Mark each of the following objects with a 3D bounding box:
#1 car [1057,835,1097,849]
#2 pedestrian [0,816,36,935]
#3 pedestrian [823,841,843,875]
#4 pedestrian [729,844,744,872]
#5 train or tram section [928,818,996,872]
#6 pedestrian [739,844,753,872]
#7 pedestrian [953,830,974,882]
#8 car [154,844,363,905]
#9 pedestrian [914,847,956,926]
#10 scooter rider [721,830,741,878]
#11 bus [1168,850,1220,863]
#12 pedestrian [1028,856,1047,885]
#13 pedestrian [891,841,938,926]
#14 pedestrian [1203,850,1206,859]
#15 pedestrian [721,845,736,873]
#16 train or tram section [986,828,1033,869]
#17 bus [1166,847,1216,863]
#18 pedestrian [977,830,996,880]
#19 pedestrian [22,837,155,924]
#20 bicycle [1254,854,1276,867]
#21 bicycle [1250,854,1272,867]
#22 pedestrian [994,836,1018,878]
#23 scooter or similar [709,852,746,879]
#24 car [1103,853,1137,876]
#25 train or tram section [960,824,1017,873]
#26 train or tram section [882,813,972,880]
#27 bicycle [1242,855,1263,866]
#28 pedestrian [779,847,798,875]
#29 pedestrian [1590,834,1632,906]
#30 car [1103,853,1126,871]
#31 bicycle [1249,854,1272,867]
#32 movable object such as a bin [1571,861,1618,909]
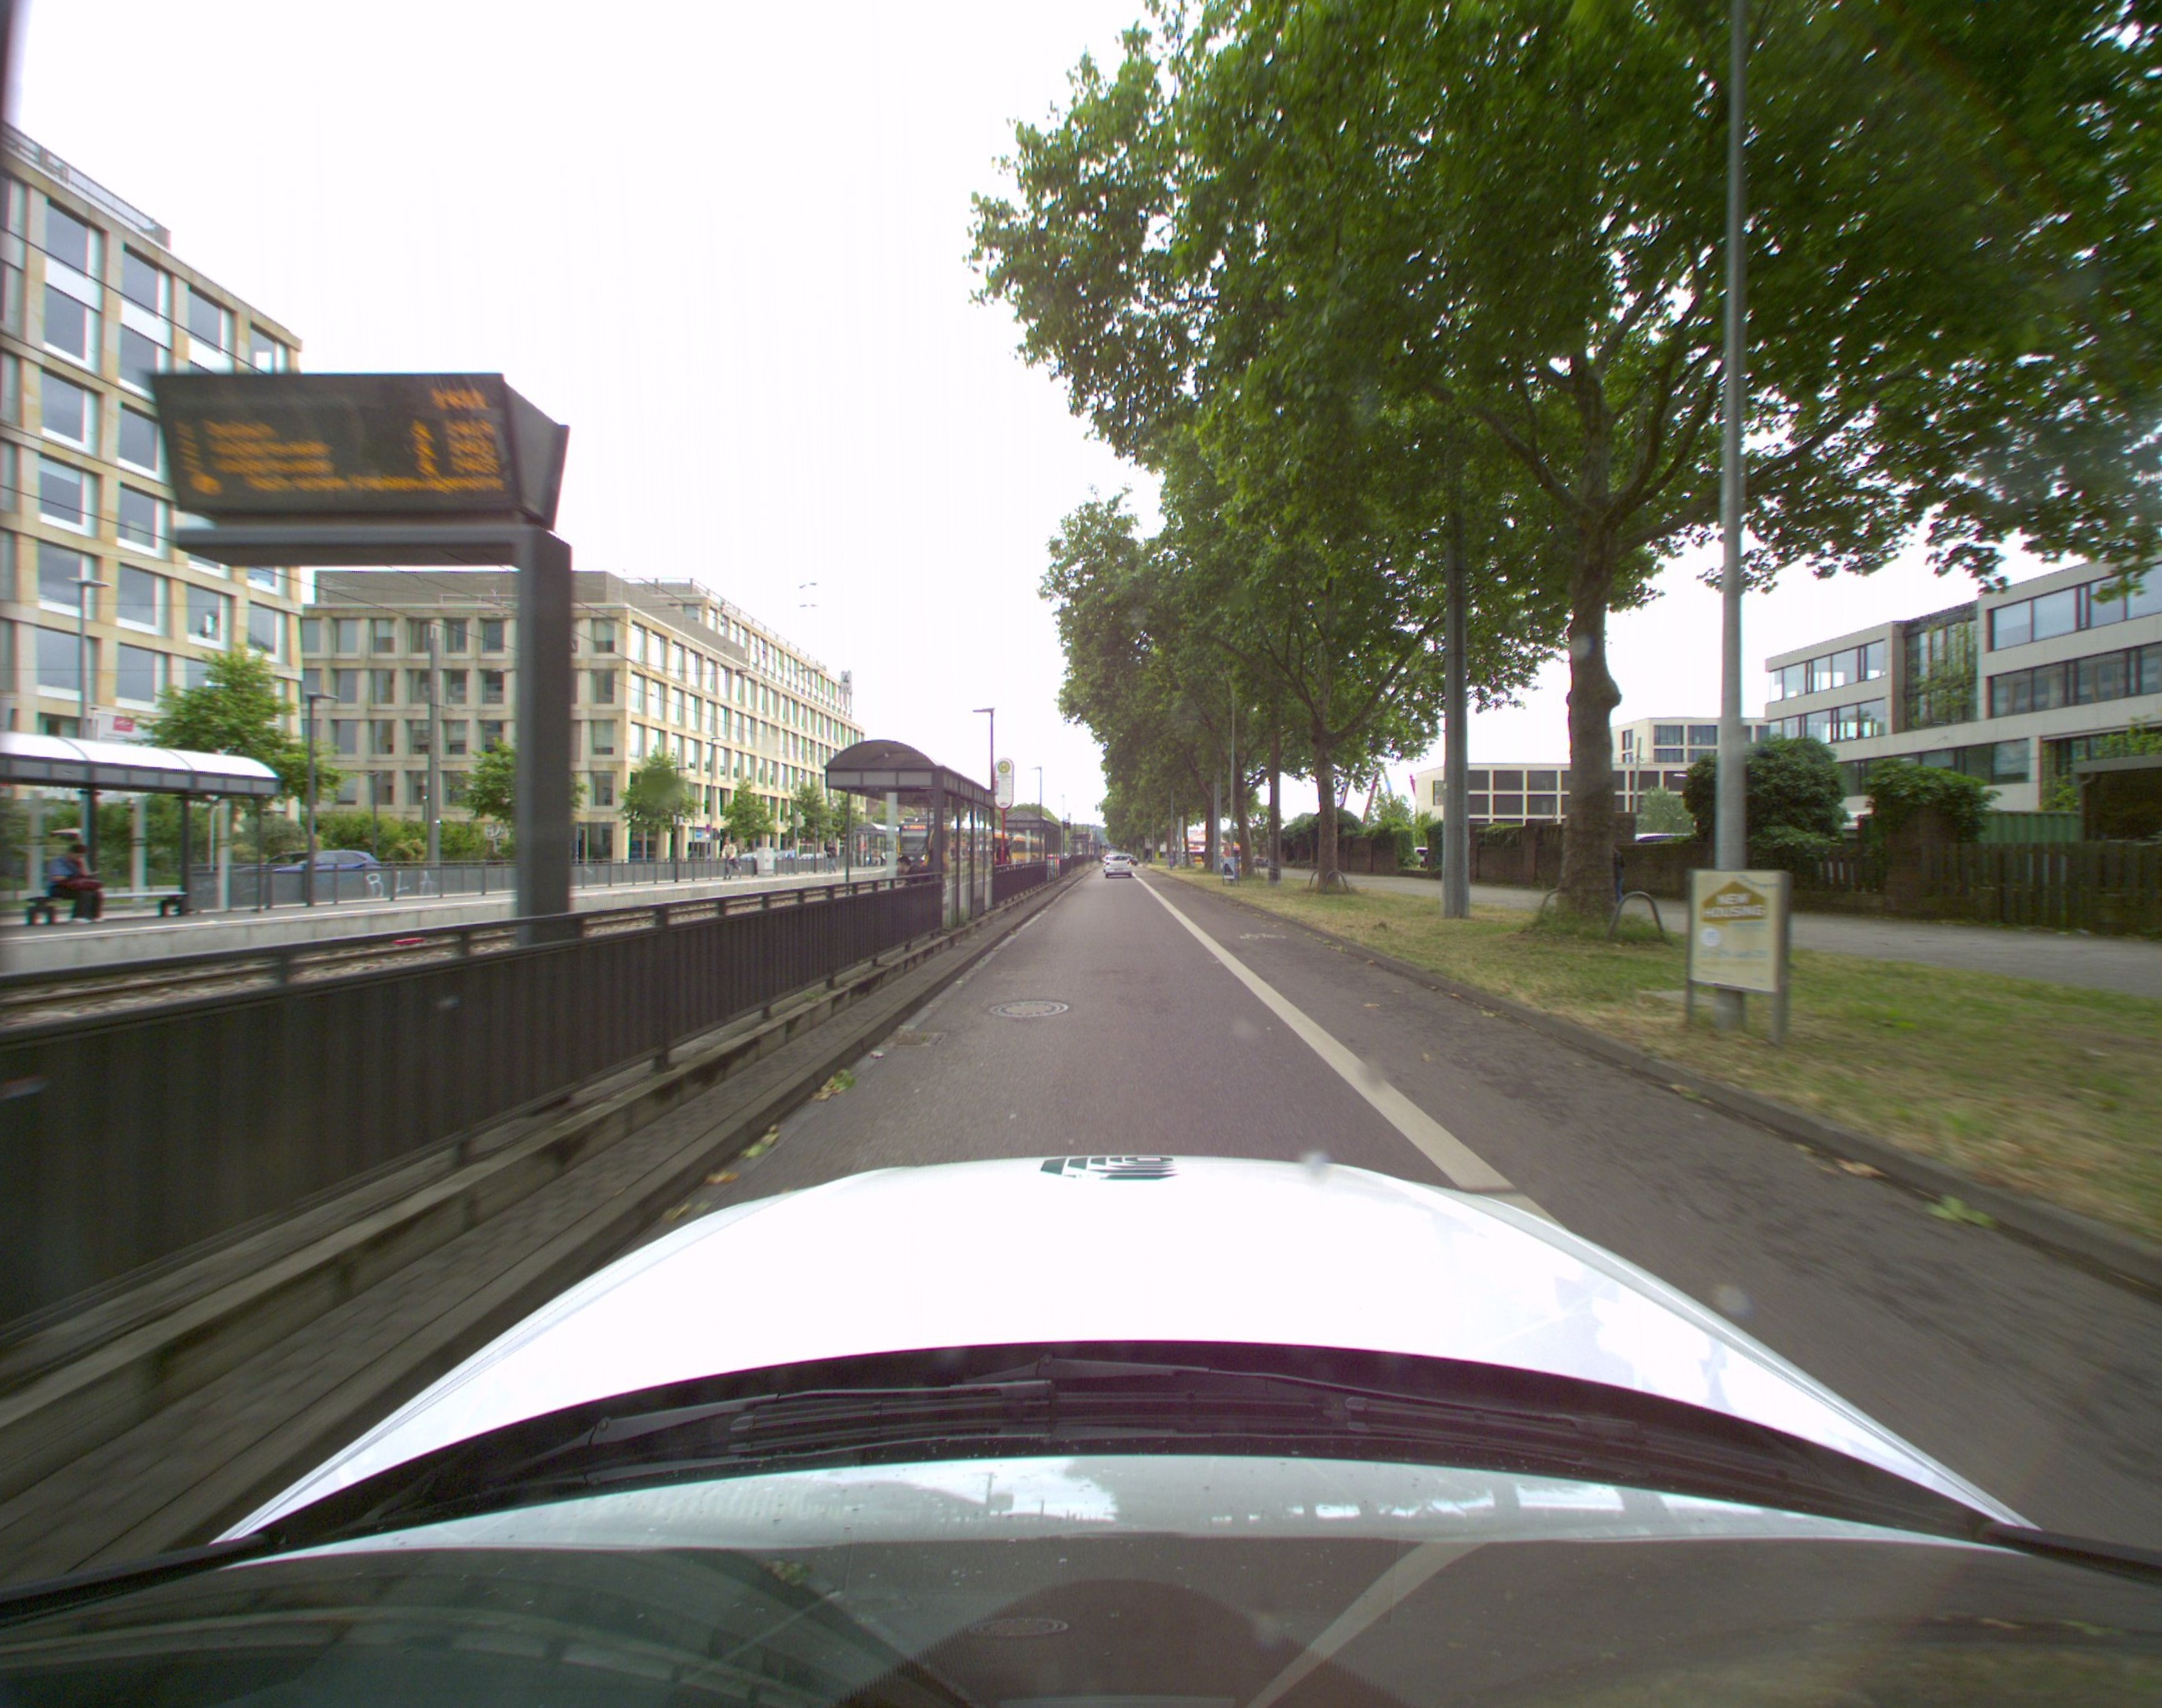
[{"bbox_3d":[-0.443,-1.235,84.338,3.968,1.486,1.789,-1,0,5],"label":"car"},{"bbox_3d":[-15.838,0.310,11.469,1.033,1.686,0.940,0,-1,5],"label":"pedestrian"},{"bbox_3d":[-13.431,0.231,44.114,0.709,1.795,1.161,0,-1,1],"label":"pedestrian"},{"bbox_3d":[-24.843,0.295,58.707,0.710,2.014,0.725,0,-1,1],"label":"pedestrian"},{"bbox_3d":[-9.149,-0.586,64.244,3.151,3.862,11.318,0,-1,3],"label":"train or tram section"},{"bbox_3d":[-24.737,0.311,60.160,0.710,2.014,0.725,0,-1,1],"label":"pedestrian"},{"bbox_3d":[-4.180,0.076,28.905,0.670,1.793,1.109,0,-1,-11],"label":"pedestrian"},{"bbox_3d":[-24.246,0.590,24.245,1.984,1.662,4.004,0,-1,4],"label":"car"},{"bbox_3d":[-2.595,0.568,14.522,0.608,1.372,0.600,0,-1,2],"label":"pedestrian"},{"bbox_3d":[-14.753,0.007,34.299,0.514,2.009,0.682,0,-1,2],"label":"scooter rider"},{"bbox_3d":[20.721,0.437,148.988,9.248,2.227,1.999,0,-1,-1],"label":"bus"},{"bbox_3d":[-1.973,0.744,36.780,0.832,1.303,0.613,0,-1,0],"label":"pedestrian"},{"bbox_3d":[-2.696,0.473,13.239,0.608,1.341,0.600,0,-1,2],"label":"pedestrian"},{"bbox_3d":[21.670,0.109,142.880,0.491,1.463,0.523,0,-1,-1],"label":"pedestrian"},{"bbox_3d":[-25.744,0.365,59.506,0.710,2.014,0.725,0,-1,1],"label":"pedestrian"},{"bbox_3d":[-7.777,-0.454,90.948,3.167,4.179,14.743,0,-1,3],"label":"train or tram section"},{"bbox_3d":[20.526,0.249,152.169,9.248,2.960,1.999,0,-1,-1],"label":"bus"},{"bbox_3d":[-3.453,0.051,29.794,0.669,1.793,1.110,0,-1,-6],"label":"pedestrian"},{"bbox_3d":[-16.298,0.427,13.405,1.033,1.372,0.940,0,-1,5],"label":"pedestrian"},{"bbox_3d":[16.860,0.604,74.695,1.883,1.105,0.550,-2,-1,0],"label":"bicycle"},{"bbox_3d":[16.644,0.602,75.274,1.894,1.097,0.550,-2,-1,0],"label":"bicycle"},{"bbox_3d":[-3.621,0.143,39.560,1.054,2.014,0.840,0,-1,2],"label":"pedestrian"},{"bbox_3d":[-14.767,0.477,34.088,0.521,1.114,2.227,0,-1,2],"label":"scooter or similar"},{"bbox_3d":[2.639,0.697,54.129,1.874,1.453,4.009,0,-1,8],"label":"car"},{"bbox_3d":[-8.498,-0.381,76.796,3.167,4.179,13.628,0,-1,3],"label":"train or tram section"},{"bbox_3d":[-9.680,-0.370,52.842,3.224,3.862,11.318,0,-1,3],"label":"train or tram section"},{"bbox_3d":[16.774,0.642,79.854,1.915,1.091,0.550,-2,-1,0],"label":"bicycle"},{"bbox_3d":[-20.833,0.497,57.992,0.929,2.014,1.032,0,-1,1],"label":"pedestrian"},{"bbox_3d":[12.219,0.371,18.791,0.555,1.632,0.671,0,-1,8],"label":"pedestrian"},{"bbox_3d":[2.966,0.701,71.450,1.833,1.552,4.004,-1,0,4],"label":"car"},{"bbox_3d":[16.730,0.598,75.911,1.968,1.095,0.550,-2,-1,0],"label":"bicycle"},{"bbox_3d":[12.375,0.731,19.658,0.608,1.112,1.017,0,0,8],"label":"movable object such as a bin"}]
